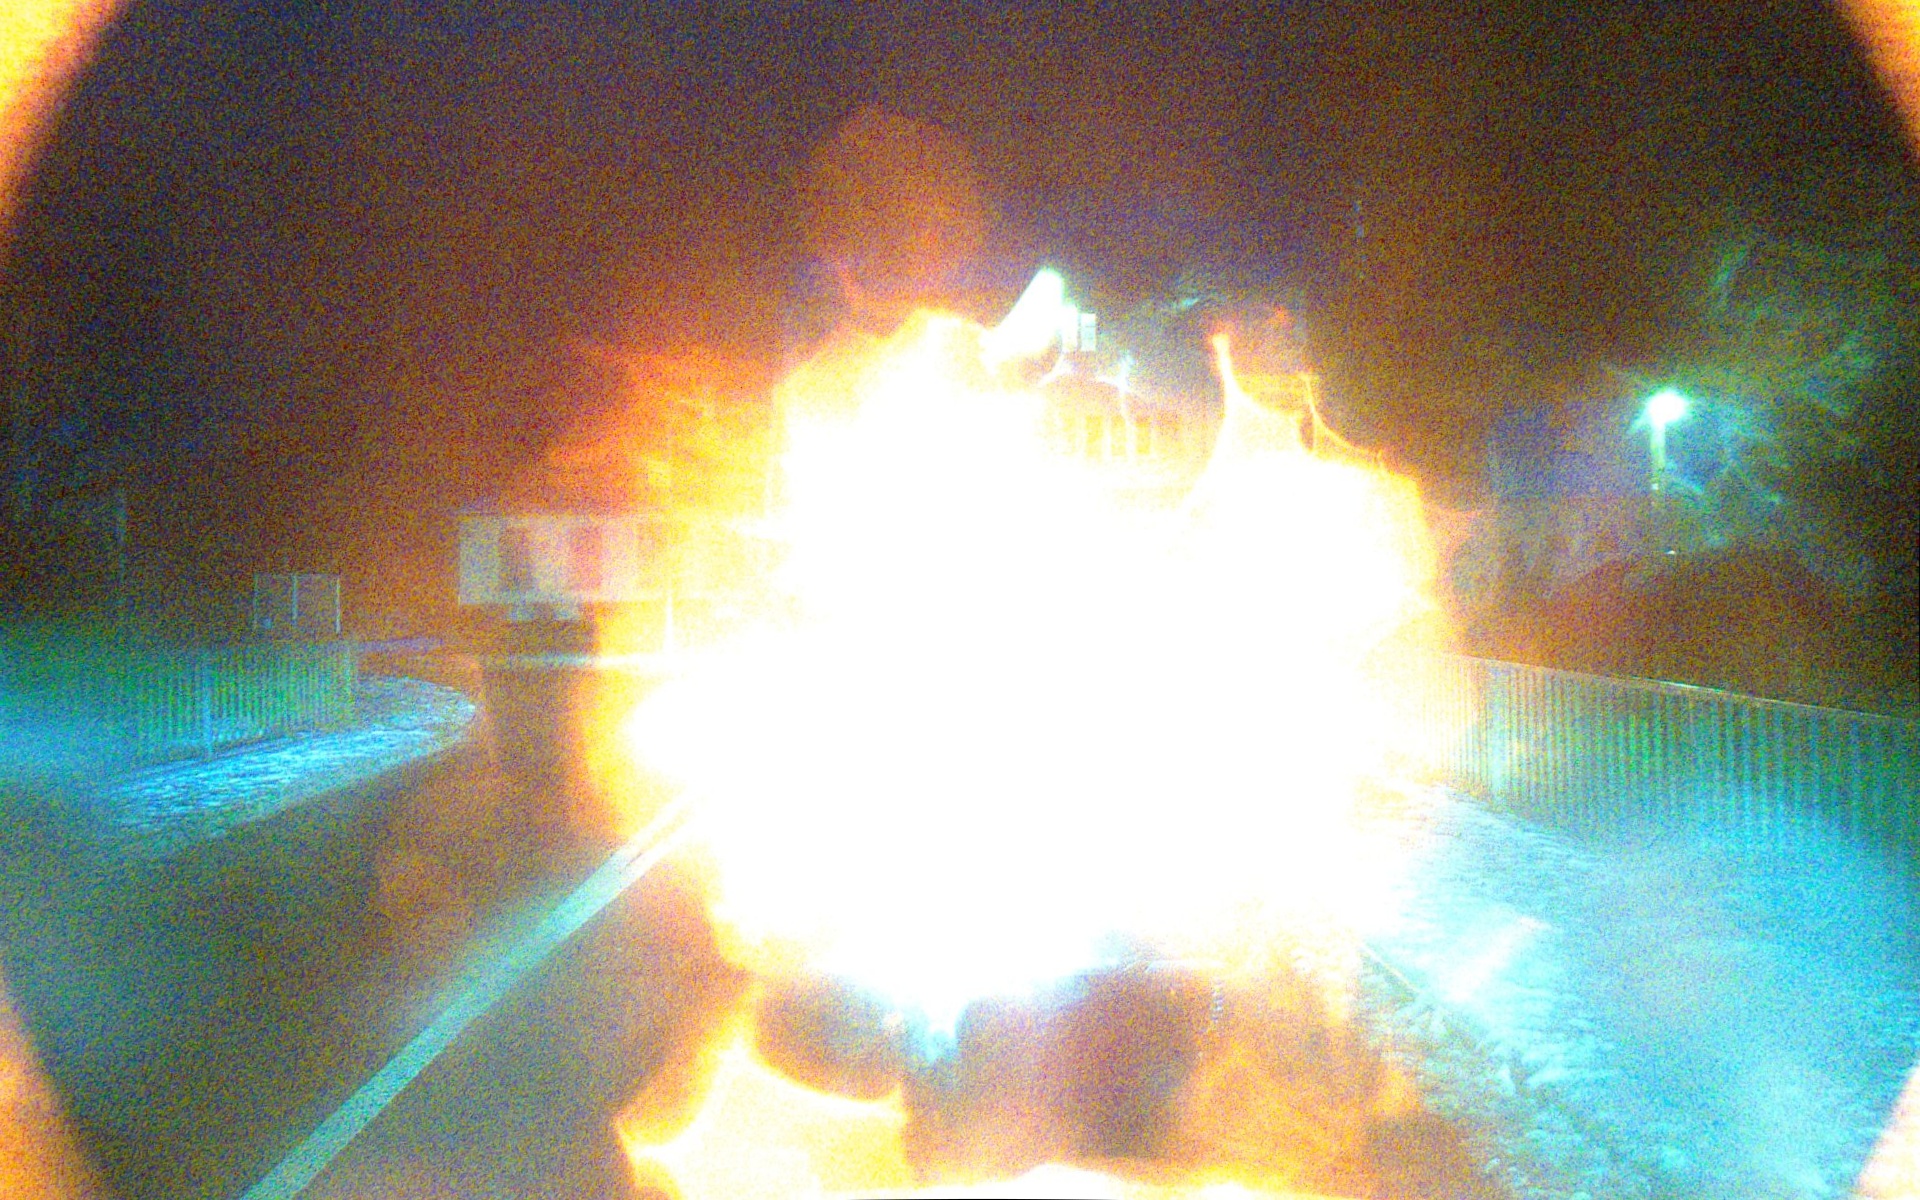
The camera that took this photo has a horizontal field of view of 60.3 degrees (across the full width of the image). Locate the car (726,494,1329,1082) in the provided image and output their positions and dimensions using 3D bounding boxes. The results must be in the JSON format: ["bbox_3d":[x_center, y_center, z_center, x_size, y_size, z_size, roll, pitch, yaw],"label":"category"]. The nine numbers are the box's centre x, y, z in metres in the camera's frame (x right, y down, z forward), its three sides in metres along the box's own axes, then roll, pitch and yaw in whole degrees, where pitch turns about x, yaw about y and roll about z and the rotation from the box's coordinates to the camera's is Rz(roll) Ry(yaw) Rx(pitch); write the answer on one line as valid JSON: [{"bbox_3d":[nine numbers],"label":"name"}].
[{"bbox_3d":[0.212,0.526,6.792,1.754,1.710,3.905,0,1,0],"label":"car"}]

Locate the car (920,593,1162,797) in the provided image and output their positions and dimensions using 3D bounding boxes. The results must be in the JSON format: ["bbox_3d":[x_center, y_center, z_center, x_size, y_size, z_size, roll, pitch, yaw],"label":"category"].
[{"bbox_3d":[0.662,0.666,13.756,1.707,1.440,4.001,0,0,3],"label":"car"}]
